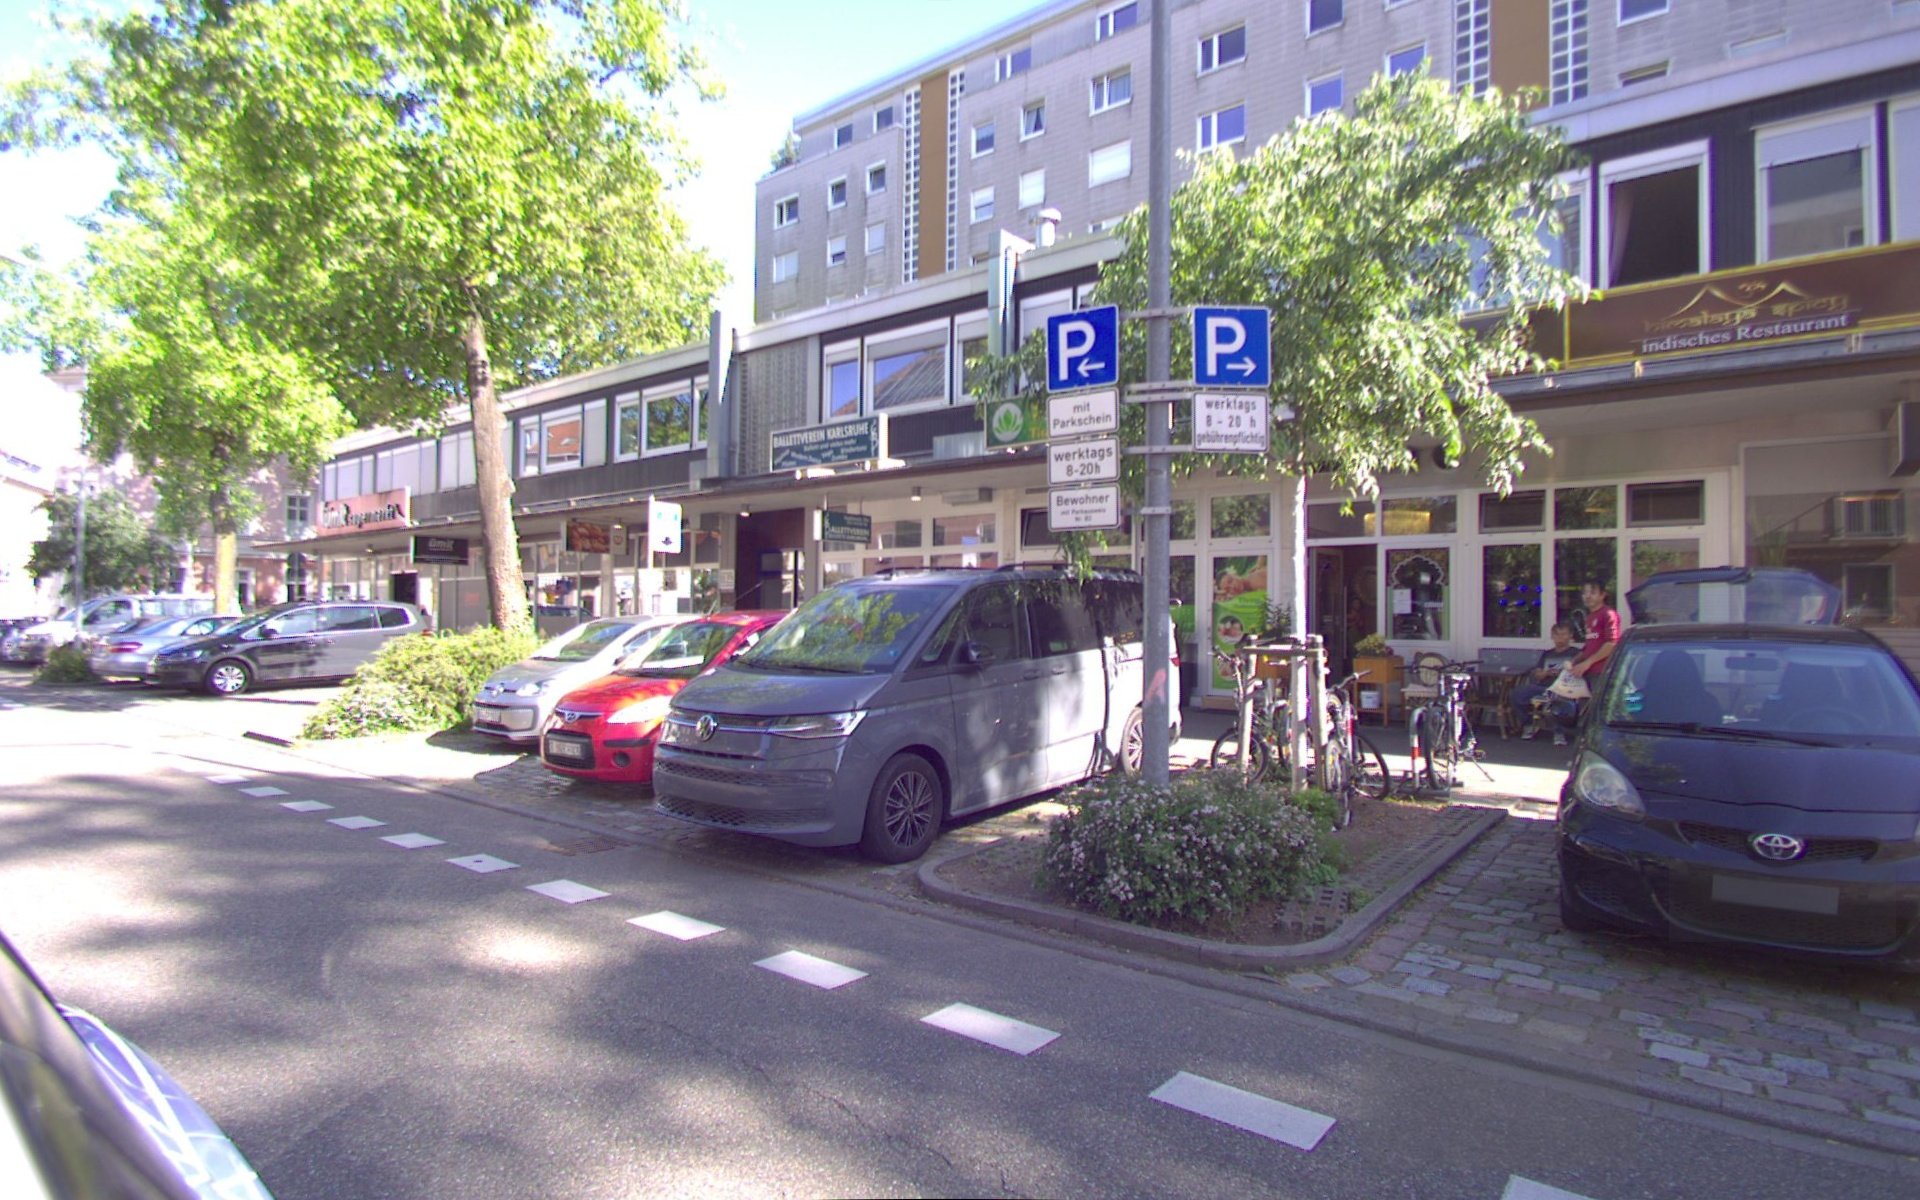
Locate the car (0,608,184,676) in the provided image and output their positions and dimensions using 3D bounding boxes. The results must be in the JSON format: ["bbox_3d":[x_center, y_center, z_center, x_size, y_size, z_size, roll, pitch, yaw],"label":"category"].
[{"bbox_3d":[-24.875,1.164,28.933,1.755,1.805,3.949,-1,-2,37],"label":"car"}]

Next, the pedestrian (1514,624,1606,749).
[{"bbox_3d":[6.326,0.886,10.672,0.746,1.255,0.643,-1,-2,39],"label":"pedestrian"}]

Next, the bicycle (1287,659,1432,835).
[{"bbox_3d":[2.928,0.976,7.305,0.613,1.047,1.847,-1,-2,33],"label":"bicycle"}]

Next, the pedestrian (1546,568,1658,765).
[{"bbox_3d":[5.871,0.595,9.271,0.571,1.725,0.637,1,-2,-23],"label":"pedestrian"}]

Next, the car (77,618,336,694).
[{"bbox_3d":[-15.418,1.090,20.902,1.756,1.409,3.950,-1,-2,36],"label":"car"}]

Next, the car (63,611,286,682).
[{"bbox_3d":[-18.966,1.057,24.578,1.734,1.431,3.951,-1,1,37],"label":"car"}]

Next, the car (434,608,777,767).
[{"bbox_3d":[-4.105,0.902,12.140,1.671,1.573,3.551,-1,-1,39],"label":"car"}]

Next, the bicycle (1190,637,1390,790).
[{"bbox_3d":[2.960,0.917,8.924,0.801,1.176,2.211,-1,-2,44],"label":"bicycle"}]

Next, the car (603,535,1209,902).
[{"bbox_3d":[-0.029,0.635,7.917,1.871,1.953,4.980,-1,-1,39],"label":"car"}]

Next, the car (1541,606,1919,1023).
[{"bbox_3d":[4.177,0.782,5.317,1.609,1.461,3.634,-1,0,35],"label":"car"}]

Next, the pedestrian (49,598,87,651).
[{"bbox_3d":[-27.950,0.764,31.709,0.807,1.652,0.718,-1,-2,38],"label":"pedestrian"}]

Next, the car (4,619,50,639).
[{"bbox_3d":[-66.851,2.068,72.551,1.608,1.432,3.304,1,-2,-28],"label":"car"}]

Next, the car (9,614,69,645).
[{"bbox_3d":[-51.679,1.676,56.846,1.482,1.674,4.013,1,-2,-27],"label":"car"}]

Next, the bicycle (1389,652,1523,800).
[{"bbox_3d":[4.132,0.973,8.363,0.614,1.047,1.844,-1,-2,38],"label":"bicycle"}]

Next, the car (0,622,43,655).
[{"bbox_3d":[-49.131,1.968,52.216,1.645,1.650,4.061,1,-2,-27],"label":"car"}]

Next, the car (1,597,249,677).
[{"bbox_3d":[-22.625,0.944,27.641,1.906,1.984,4.937,-1,-1,37],"label":"car"}]

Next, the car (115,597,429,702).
[{"bbox_3d":[-13.177,0.860,19.675,1.871,1.790,4.725,-1,-1,37],"label":"car"}]

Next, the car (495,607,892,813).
[{"bbox_3d":[-2.361,0.866,9.750,1.656,1.566,3.530,-1,-1,32],"label":"car"}]
